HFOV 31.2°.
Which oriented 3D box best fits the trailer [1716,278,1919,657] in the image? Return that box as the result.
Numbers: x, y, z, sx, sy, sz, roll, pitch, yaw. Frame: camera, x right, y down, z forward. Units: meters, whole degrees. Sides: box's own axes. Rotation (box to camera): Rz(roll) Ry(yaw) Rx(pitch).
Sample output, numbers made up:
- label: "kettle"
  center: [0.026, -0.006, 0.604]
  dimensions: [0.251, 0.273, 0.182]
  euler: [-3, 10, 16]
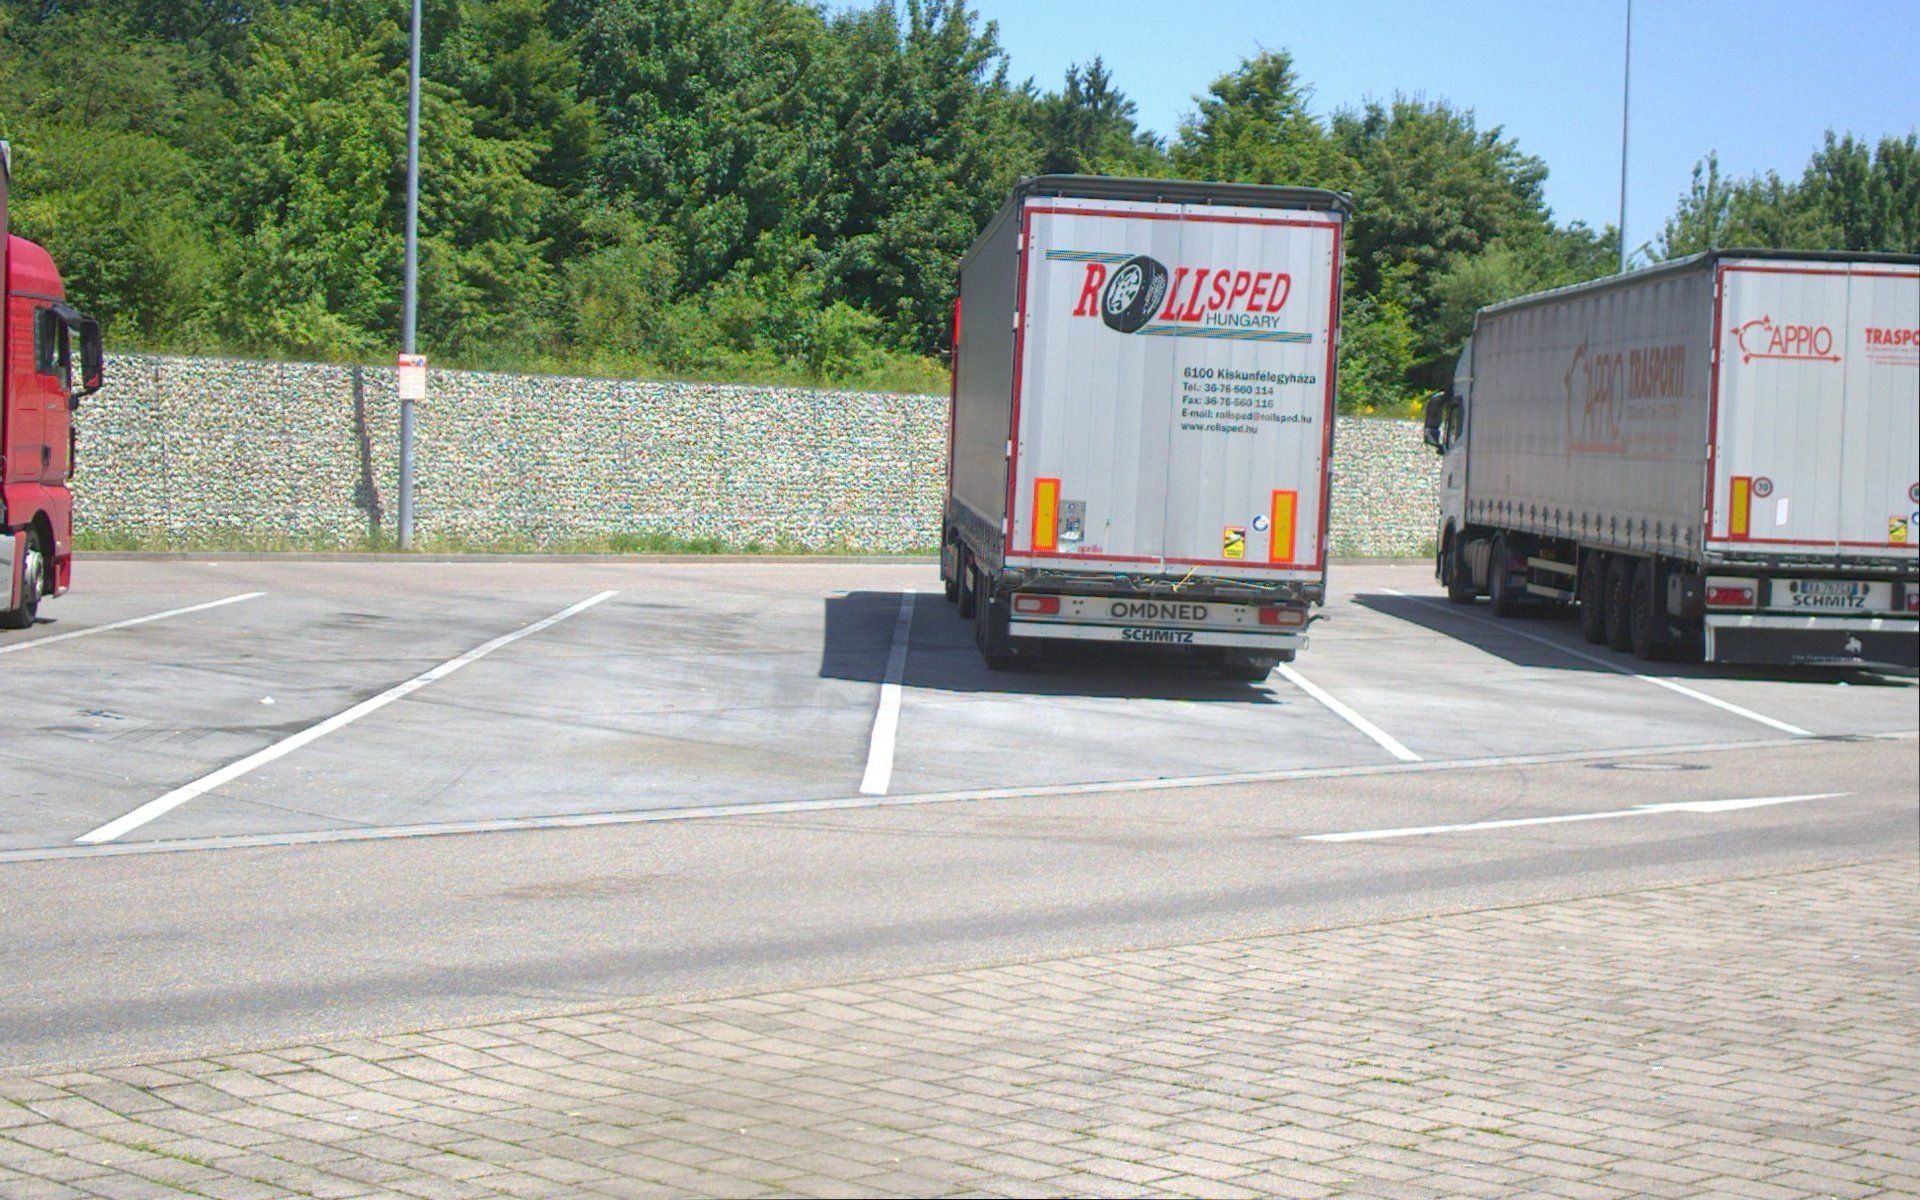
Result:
- label: "trailer"
  center: [11.784, -1.503, 39.386]
  dimensions: [2.858, 4.095, 13.765]
  euler: [2, 3, -1]

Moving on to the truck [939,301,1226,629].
- label: "truck"
  center: [1.274, -1.572, 39.321]
  dimensions: [2.865, 3.351, 5.975]
  euler: [2, 3, -1]

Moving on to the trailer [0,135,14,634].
- label: "trailer"
  center: [-9.163, -1.464, 21.377]
  dimensions: [2.821, 4.057, 13.765]
  euler: [2, 3, -1]

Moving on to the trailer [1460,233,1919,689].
- label: "trailer"
  center: [8.187, -1.587, 38.374]
  dimensions: [2.858, 4.095, 13.765]
  euler: [2, 3, -1]

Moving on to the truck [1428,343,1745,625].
- label: "truck"
  center: [8.085, -1.568, 45.140]
  dimensions: [2.865, 3.351, 5.975]
  euler: [2, 3, -1]

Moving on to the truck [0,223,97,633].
- label: "truck"
  center: [-9.252, -1.455, 28.197]
  dimensions: [2.812, 3.351, 5.975]
  euler: [2, 3, -1]

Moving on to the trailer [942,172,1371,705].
- label: "trailer"
  center: [1.459, -1.567, 33.119]
  dimensions: [2.858, 3.958, 13.765]
  euler: [2, 3, -1]
